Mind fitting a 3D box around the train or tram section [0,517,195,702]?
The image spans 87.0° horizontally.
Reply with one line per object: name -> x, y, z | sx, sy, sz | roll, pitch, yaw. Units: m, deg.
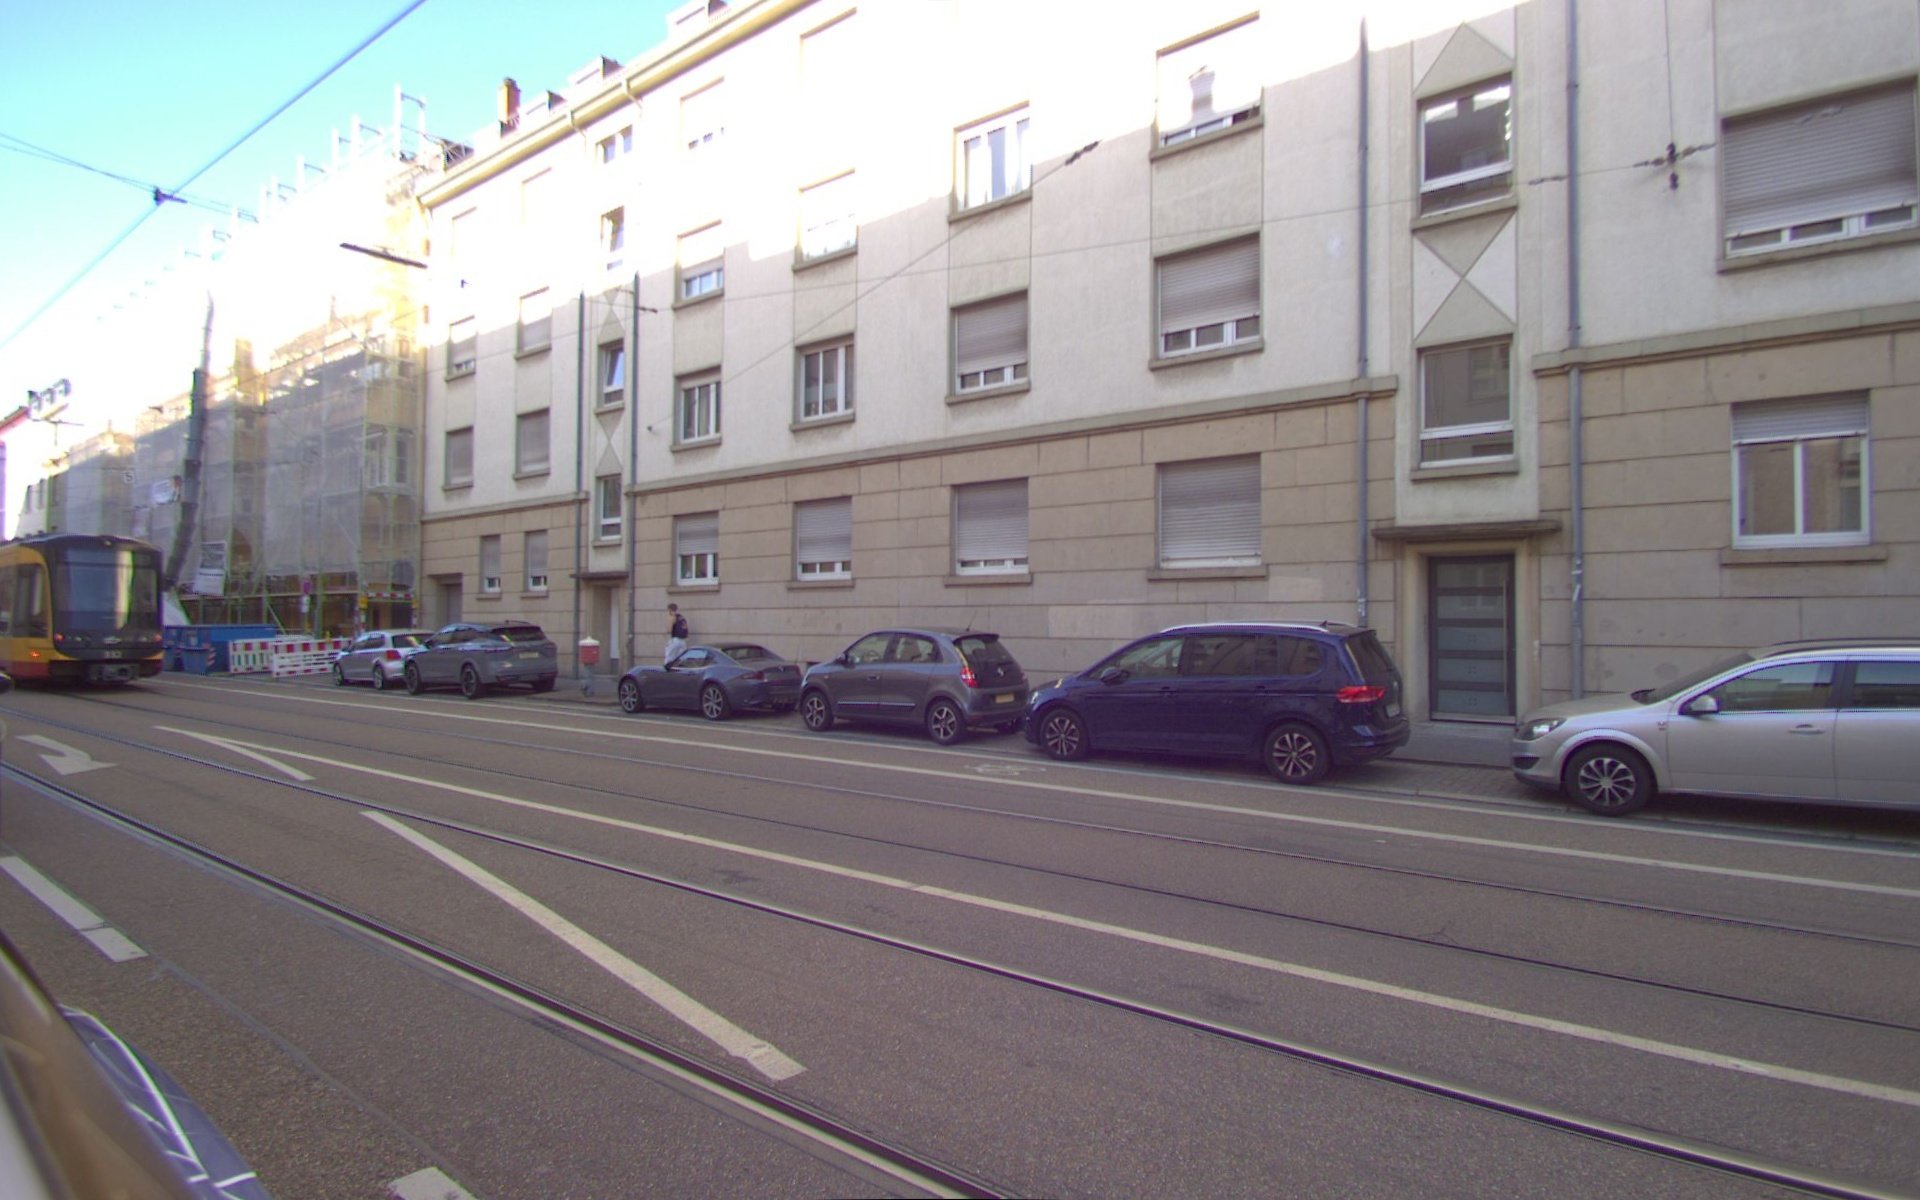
train or tram section -> -23.139, 0.252, 25.488 | 14.247, 3.659, 2.718 | -1, 0, 39

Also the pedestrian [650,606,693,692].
pedestrian -> -6.407, 1.069, 22.451 | 0.733, 1.846, 0.592 | -1, 0, 40

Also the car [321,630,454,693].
car -> -14.431, 1.486, 25.470 | 3.639, 1.402, 1.617 | -1, 0, 37

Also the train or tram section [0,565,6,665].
train or tram section -> -40.367, 0.555, 39.197 | 12.613, 3.621, 3.032 | -1, -3, 38

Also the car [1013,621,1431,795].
car -> 2.914, 1.067, 11.682 | 4.285, 1.597, 1.887 | -1, 0, 37

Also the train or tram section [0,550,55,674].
train or tram section -> -31.868, 0.420, 32.418 | 9.072, 3.658, 2.798 | -1, 0, 38

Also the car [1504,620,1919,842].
car -> 7.213, 0.987, 8.542 | 4.358, 1.571, 1.975 | -1, 0, 38

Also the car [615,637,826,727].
car -> -4.177, 1.340, 17.515 | 3.483, 1.286, 1.730 | -1, 0, 37

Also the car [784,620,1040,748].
car -> -0.751, 1.112, 14.712 | 3.493, 1.584, 1.650 | -1, 0, 38

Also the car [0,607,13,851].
car -> -8.015, 0.820, 6.996 | 3.997, 1.515, 1.670 | -1, -3, 40

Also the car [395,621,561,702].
car -> -10.840, 1.299, 22.653 | 4.108, 1.603, 1.691 | -1, 0, 38
